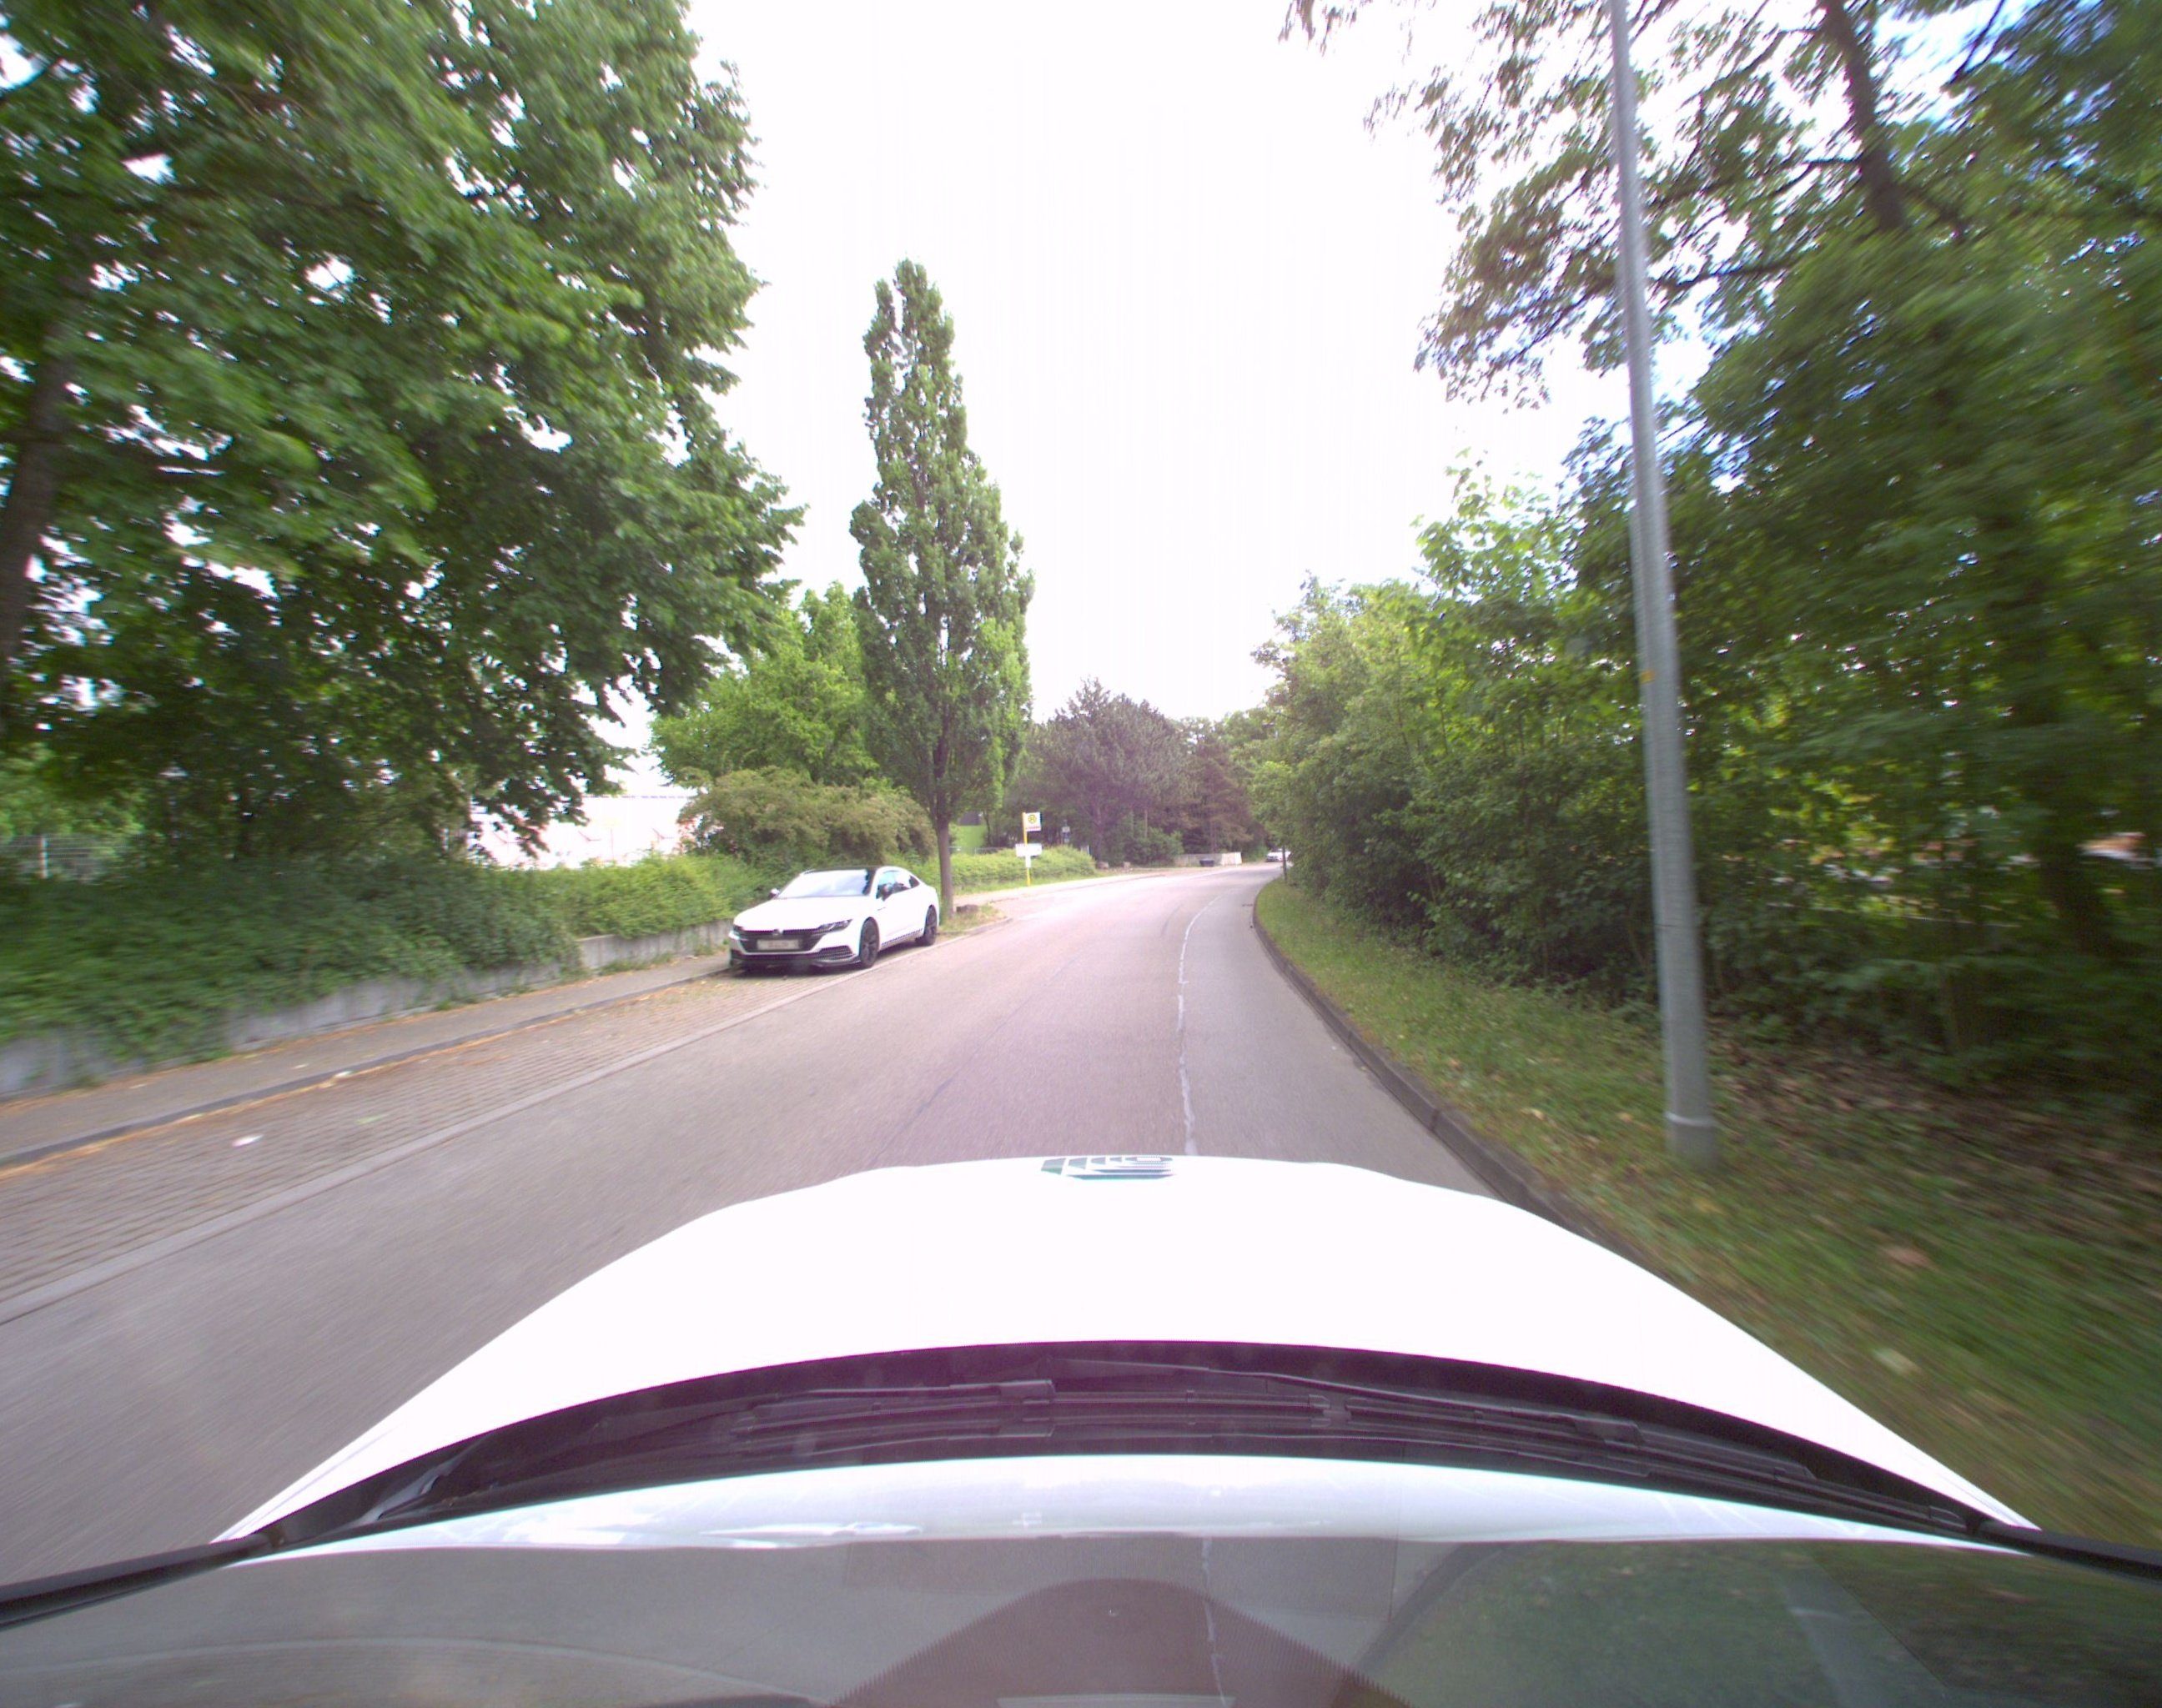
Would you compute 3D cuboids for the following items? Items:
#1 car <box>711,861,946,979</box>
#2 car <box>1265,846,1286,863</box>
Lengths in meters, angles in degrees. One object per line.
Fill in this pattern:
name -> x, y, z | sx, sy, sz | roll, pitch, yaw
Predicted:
car -> -3.604, 0.865, 12.583 | 1.804, 1.424, 4.368 | -2, 0, 6
car -> 20.997, 0.024, 87.861 | 1.705, 1.549, 3.742 | -3, 1, 19
